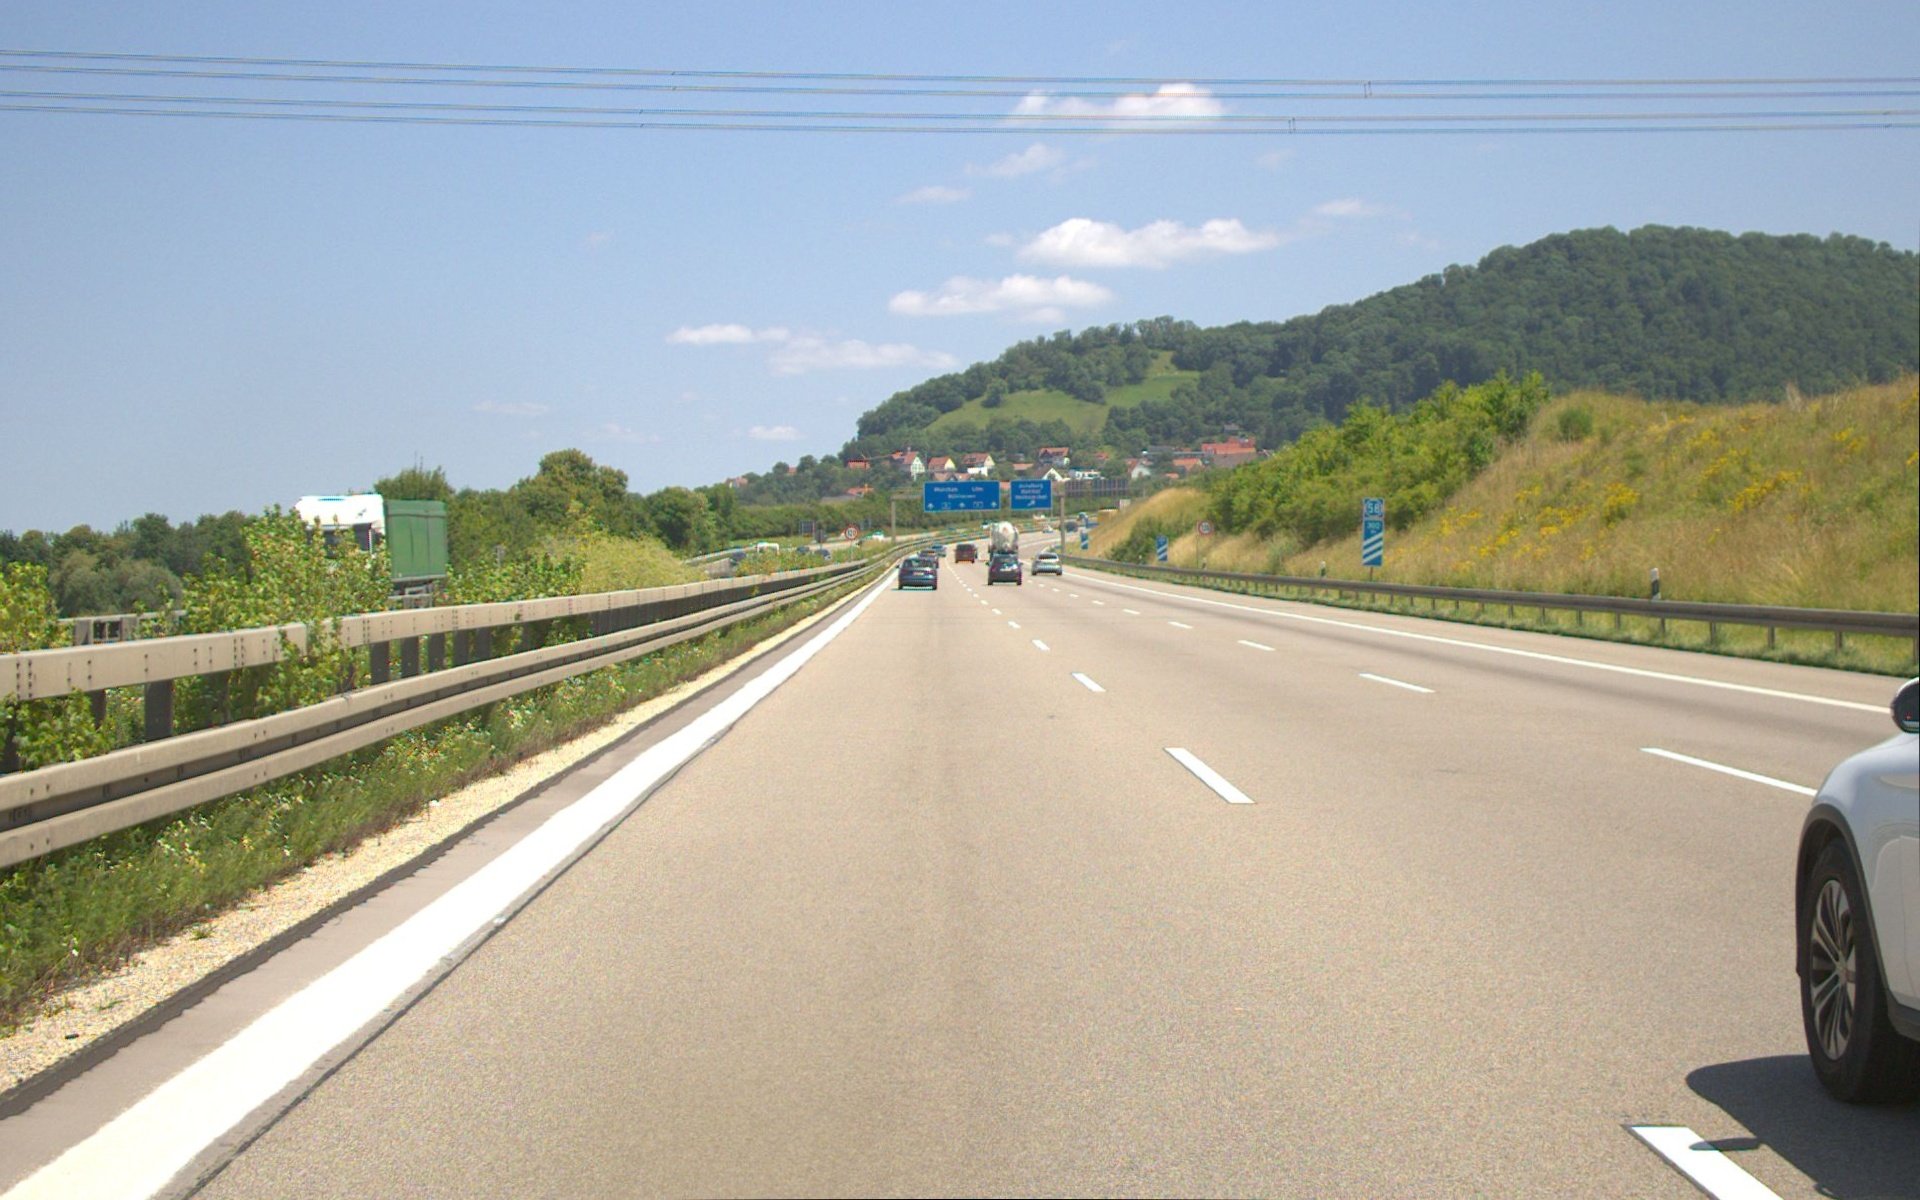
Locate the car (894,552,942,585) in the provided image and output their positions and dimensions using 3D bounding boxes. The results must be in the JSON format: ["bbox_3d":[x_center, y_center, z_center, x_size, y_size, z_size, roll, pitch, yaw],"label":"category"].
[{"bbox_3d":[-1.821,-1.355,149.079,1.993,1.384,4.000,1,0,0],"label":"car"}]

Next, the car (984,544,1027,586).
[{"bbox_3d":[2.220,-1.699,168.643,1.993,2.007,4.000,1,0,0],"label":"car"}]

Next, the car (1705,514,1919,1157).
[{"bbox_3d":[3.323,0.591,8.085,1.914,1.575,5.231,1,0,-1],"label":"car"}]

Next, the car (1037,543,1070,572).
[{"bbox_3d":[6.011,-2.718,220.844,1.993,1.812,4.000,-2,1,0],"label":"car"}]

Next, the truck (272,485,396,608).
[{"bbox_3d":[-18.760,-1.581,103.358,2.723,3.547,5.901,1,0,-1],"label":"truck"}]
